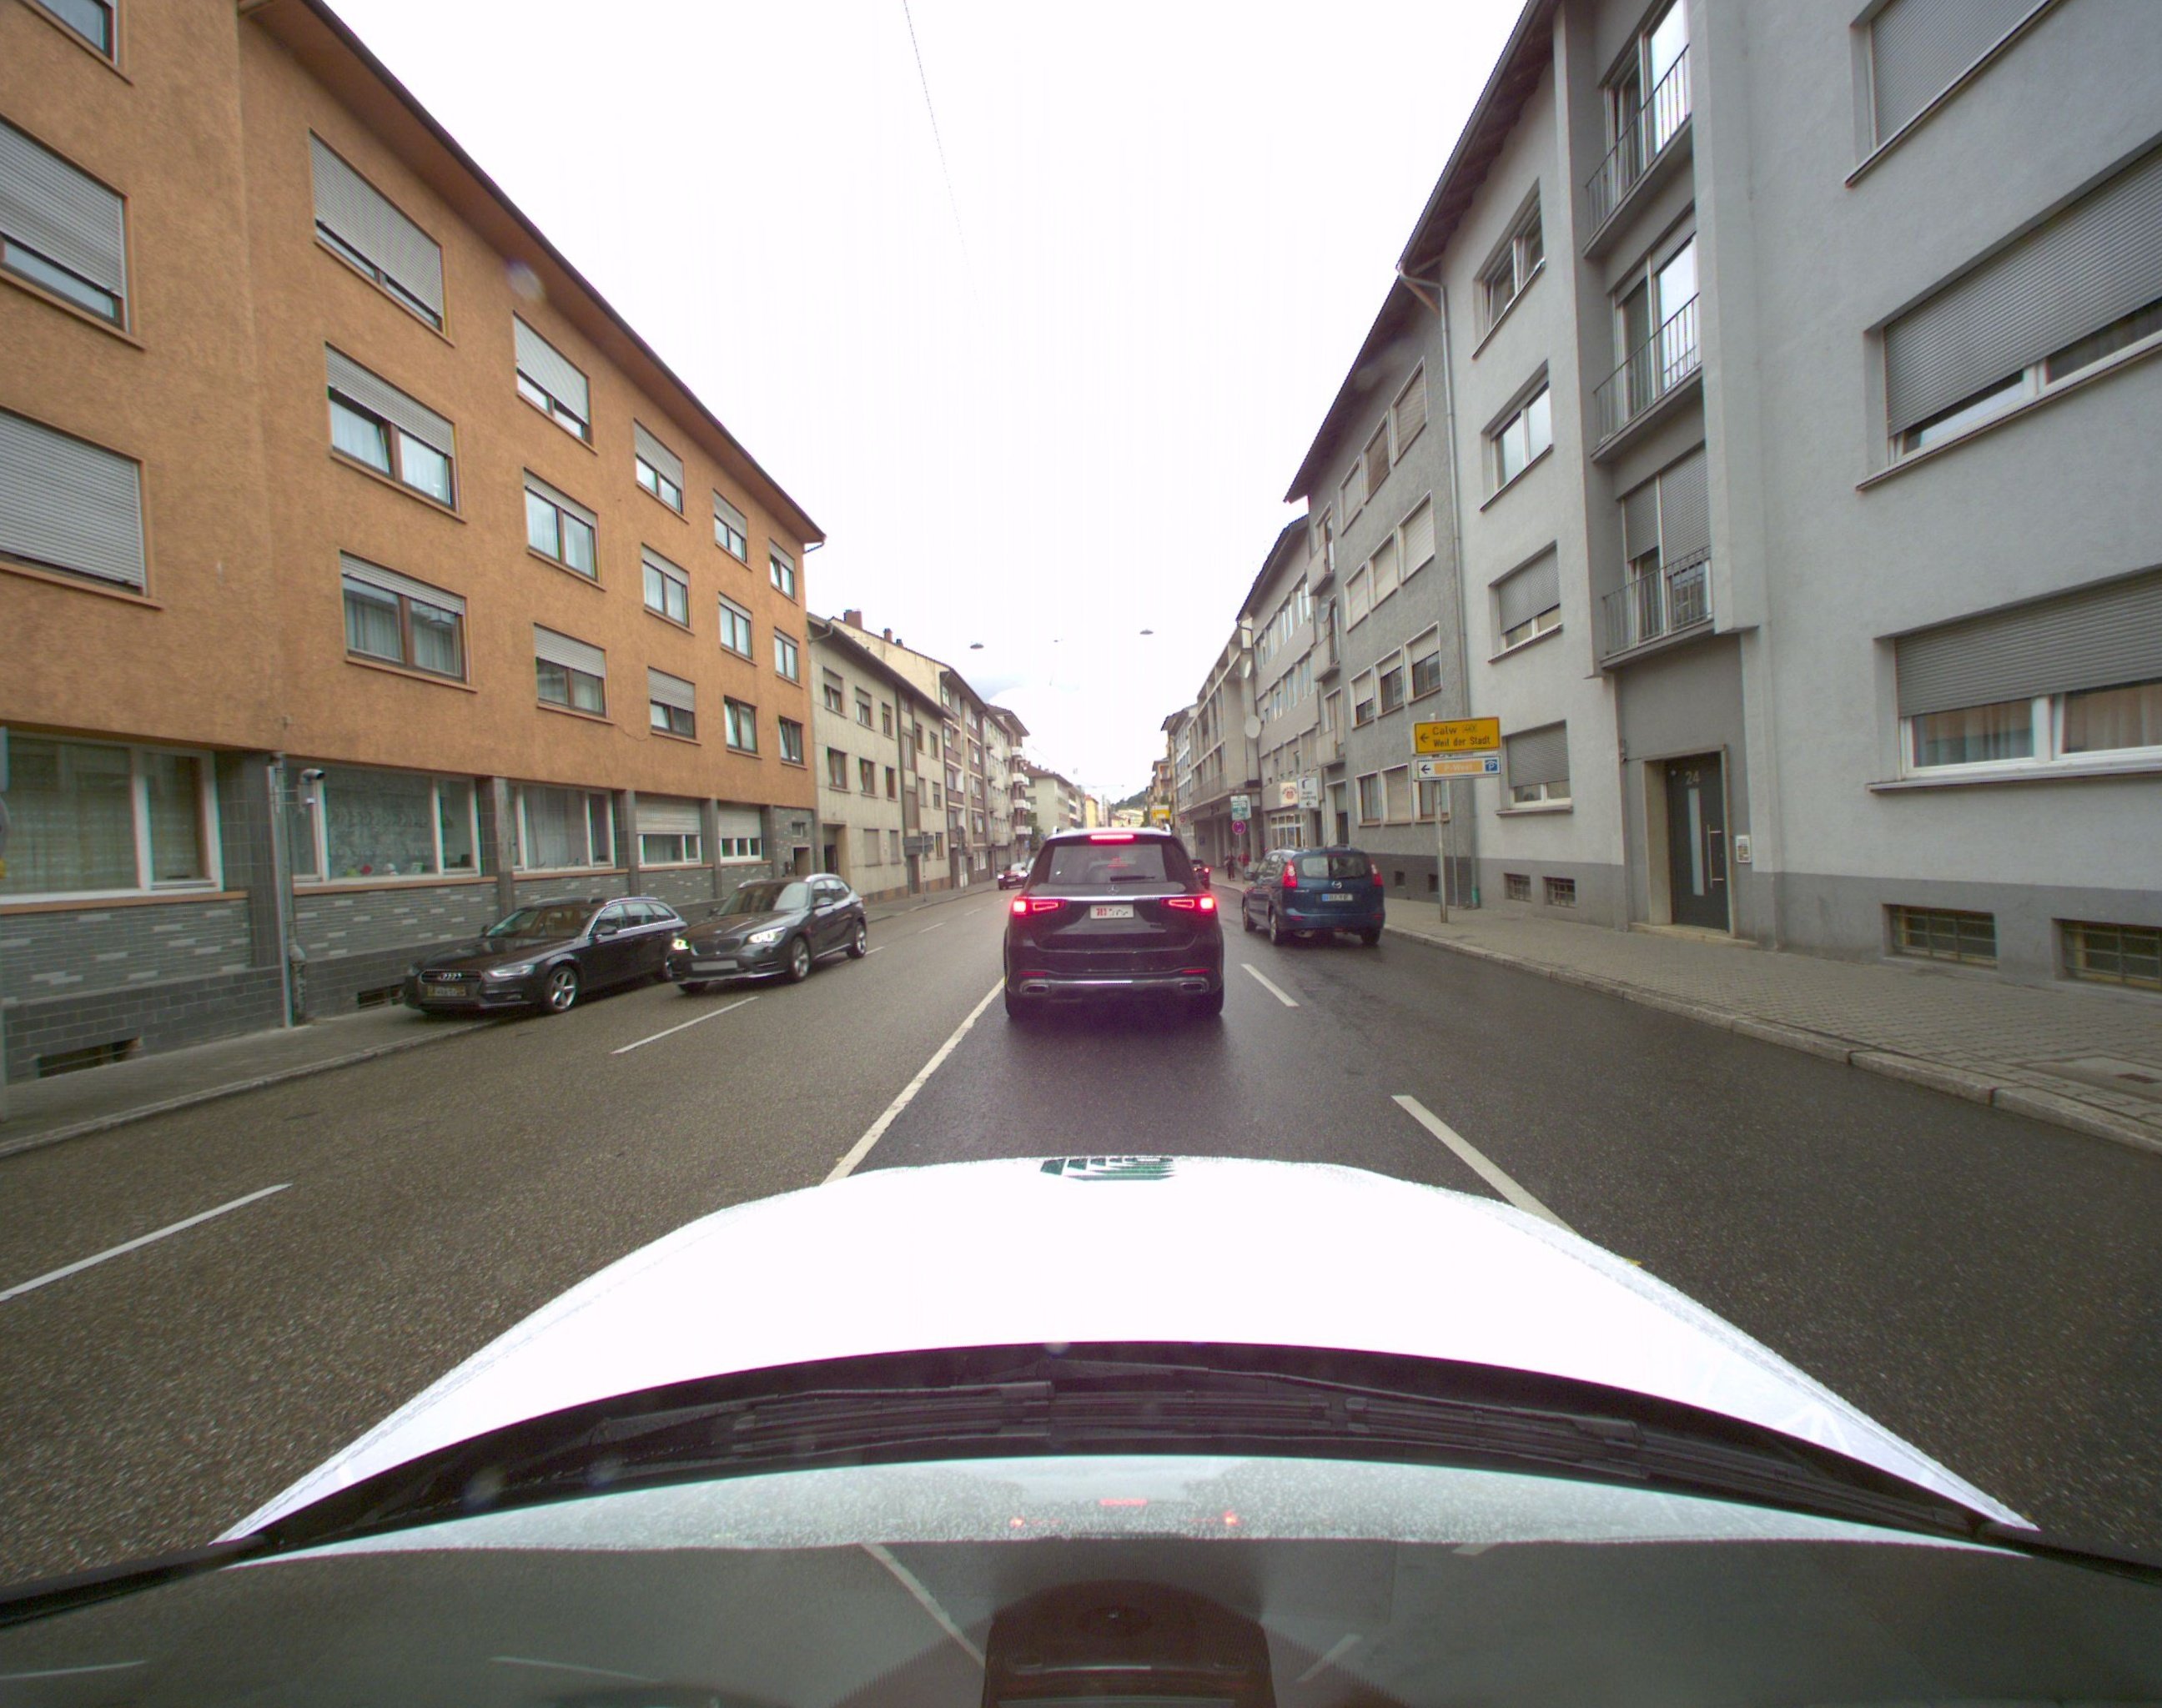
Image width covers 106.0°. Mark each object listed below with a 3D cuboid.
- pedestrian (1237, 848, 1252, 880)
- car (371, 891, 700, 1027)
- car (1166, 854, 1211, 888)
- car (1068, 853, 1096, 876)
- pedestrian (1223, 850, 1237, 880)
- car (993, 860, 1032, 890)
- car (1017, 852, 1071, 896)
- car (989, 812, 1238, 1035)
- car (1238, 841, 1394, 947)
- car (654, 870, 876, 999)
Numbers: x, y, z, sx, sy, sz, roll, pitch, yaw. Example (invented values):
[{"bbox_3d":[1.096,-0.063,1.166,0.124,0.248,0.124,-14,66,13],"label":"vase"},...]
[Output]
[{"bbox_3d":[8.399,0.502,41.855,0.558,1.578,0.526,-5,0,2],"label":"pedestrian"},{"bbox_3d":[-7.705,1.384,12.191,1.789,1.438,4.528,0,0,1],"label":"car"},{"bbox_3d":[4.859,0.728,37.237,1.615,1.430,4.313,0,0,1],"label":"car"},{"bbox_3d":[0.105,0.849,68.824,2.119,1.721,4.819,-5,0,1],"label":"car"},{"bbox_3d":[7.664,0.567,41.872,0.504,1.500,0.563,-5,0,4],"label":"pedestrian"},{"bbox_3d":[-4.231,1.283,51.020,1.790,1.584,4.318,-5,0,2],"label":"car"},{"bbox_3d":[-1.602,0.861,37.128,1.828,1.727,4.479,-5,0,4],"label":"car"},{"bbox_3d":[0.311,0.568,8.635,2.018,1.806,4.001,0,0,1],"label":"car"},{"bbox_3d":[4.015,0.619,14.631,1.800,1.606,4.216,-1,0,4],"label":"car"},{"bbox_3d":[-4.752,1.118,12.957,1.697,1.507,4.160,-5,0,1],"label":"car"}]
